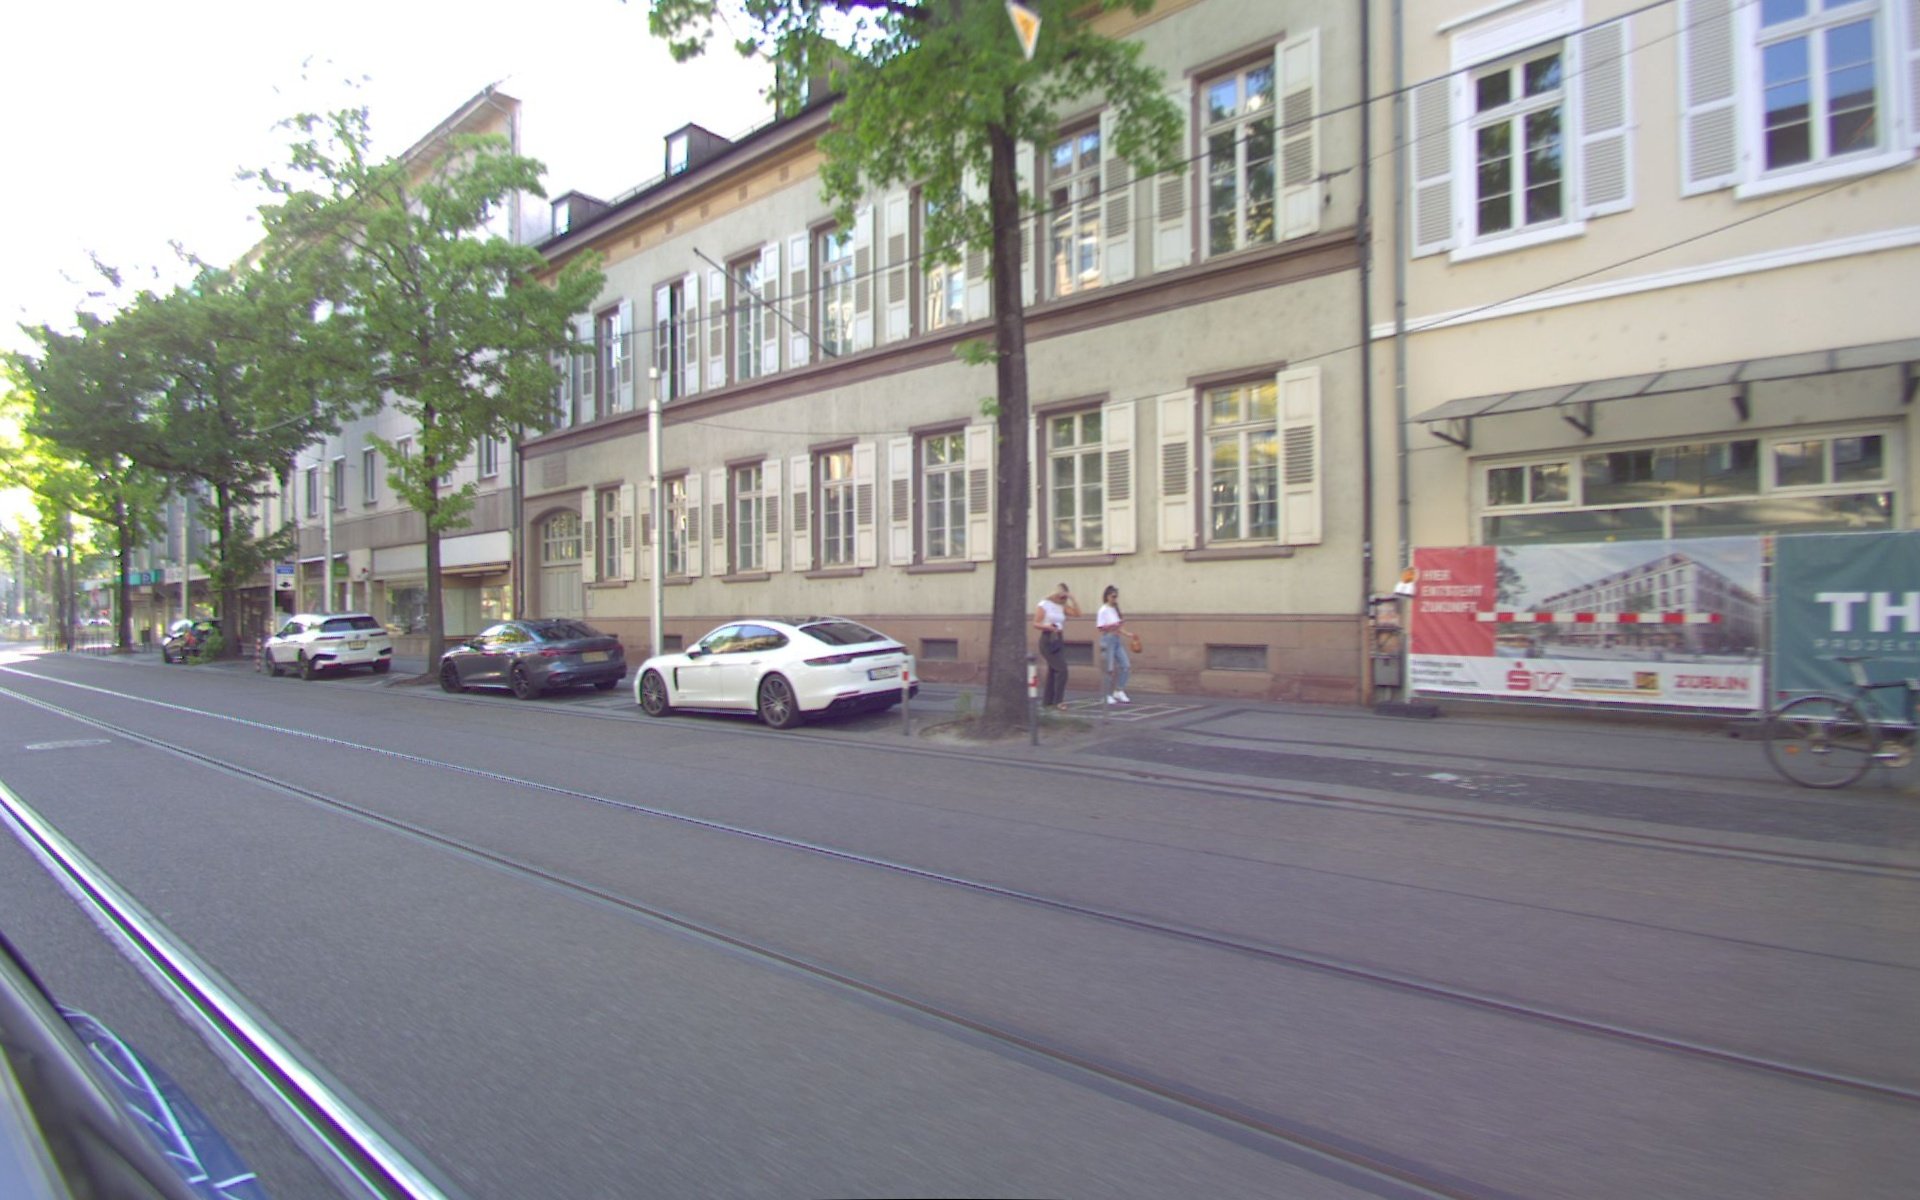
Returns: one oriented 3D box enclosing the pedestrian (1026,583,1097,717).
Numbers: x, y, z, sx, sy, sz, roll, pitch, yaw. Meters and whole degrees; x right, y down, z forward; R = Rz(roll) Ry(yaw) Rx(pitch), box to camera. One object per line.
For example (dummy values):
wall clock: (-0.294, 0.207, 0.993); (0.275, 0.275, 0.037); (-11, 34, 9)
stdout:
pedestrian: (1.363, 0.654, 13.564); (0.656, 1.734, 0.679); (-2, -1, 41)

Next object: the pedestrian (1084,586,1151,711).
pedestrian: (2.203, 0.663, 14.118); (0.647, 1.692, 0.667); (-2, -1, 41)

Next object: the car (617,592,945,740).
car: (-2.702, 0.823, 14.438); (4.907, 1.652, 1.926); (-1, 3, 42)

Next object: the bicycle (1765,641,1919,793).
bicycle: (7.133, 0.835, 7.304); (2.003, 1.058, 0.588); (-1, -1, 34)

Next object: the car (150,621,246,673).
car: (-27.897, 1.671, 37.008); (3.998, 1.652, 1.942); (-1, 2, 41)

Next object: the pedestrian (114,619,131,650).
pedestrian: (-55.266, 2.273, 66.798); (0.734, 2.029, 0.788); (-1, 0, 42)

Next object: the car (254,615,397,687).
car: (-17.124, 1.305, 27.197); (4.811, 1.652, 1.941); (-1, 2, 42)

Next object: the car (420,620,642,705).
car: (-8.463, 1.125, 19.759); (4.840, 1.423, 1.943); (-1, 0, 39)

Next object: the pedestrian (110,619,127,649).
pedestrian: (-56.711, 2.291, 68.183); (0.734, 2.029, 0.788); (-1, 0, 42)
